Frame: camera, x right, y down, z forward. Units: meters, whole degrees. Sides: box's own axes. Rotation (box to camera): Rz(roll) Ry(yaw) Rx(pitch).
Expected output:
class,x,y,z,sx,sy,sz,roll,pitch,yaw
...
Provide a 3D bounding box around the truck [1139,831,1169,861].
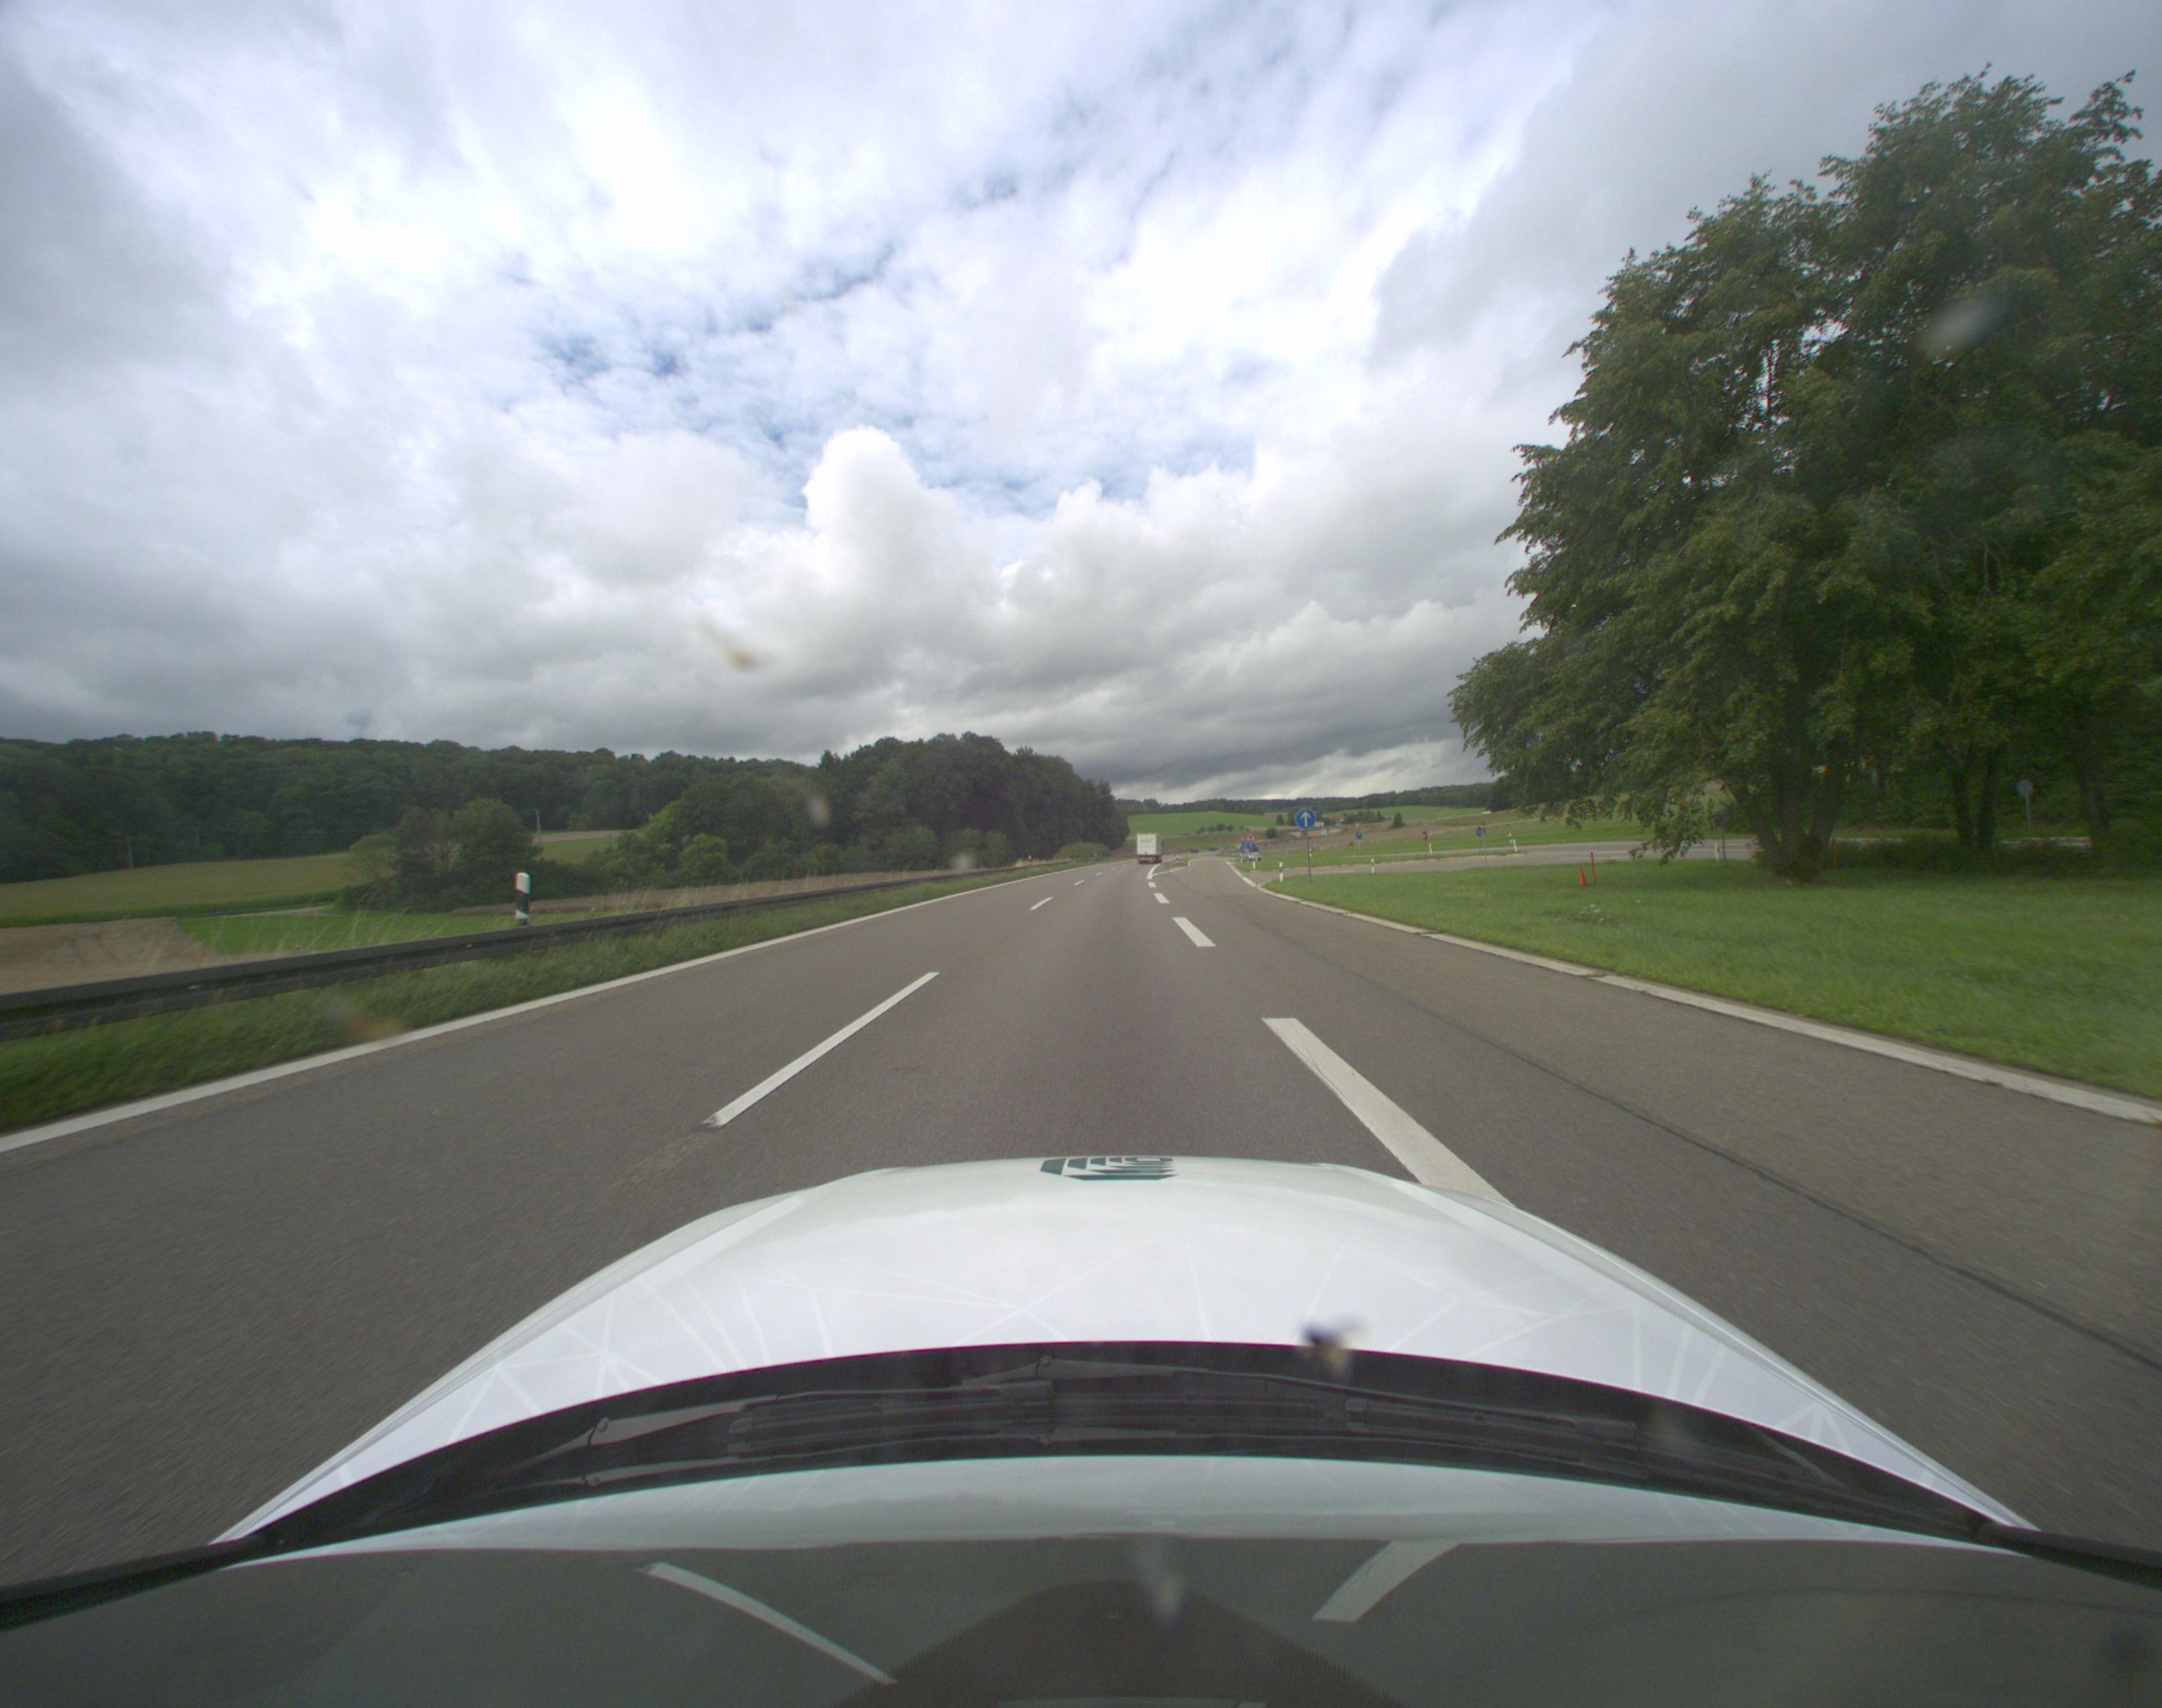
class,x,y,z,sx,sy,sz,roll,pitch,yaw
truck,10.660,-1.142,117.486,3.766,4.131,8.285,0,0,9

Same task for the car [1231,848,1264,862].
class,x,y,z,sx,sy,sz,roll,pitch,yaw
car,19.633,0.134,96.141,1.785,1.552,3.970,-3,1,-22

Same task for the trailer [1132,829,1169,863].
class,x,y,z,sx,sy,sz,roll,pitch,yaw
trailer,9.578,-1.068,110.387,3.783,4.174,14.845,-1,0,9
